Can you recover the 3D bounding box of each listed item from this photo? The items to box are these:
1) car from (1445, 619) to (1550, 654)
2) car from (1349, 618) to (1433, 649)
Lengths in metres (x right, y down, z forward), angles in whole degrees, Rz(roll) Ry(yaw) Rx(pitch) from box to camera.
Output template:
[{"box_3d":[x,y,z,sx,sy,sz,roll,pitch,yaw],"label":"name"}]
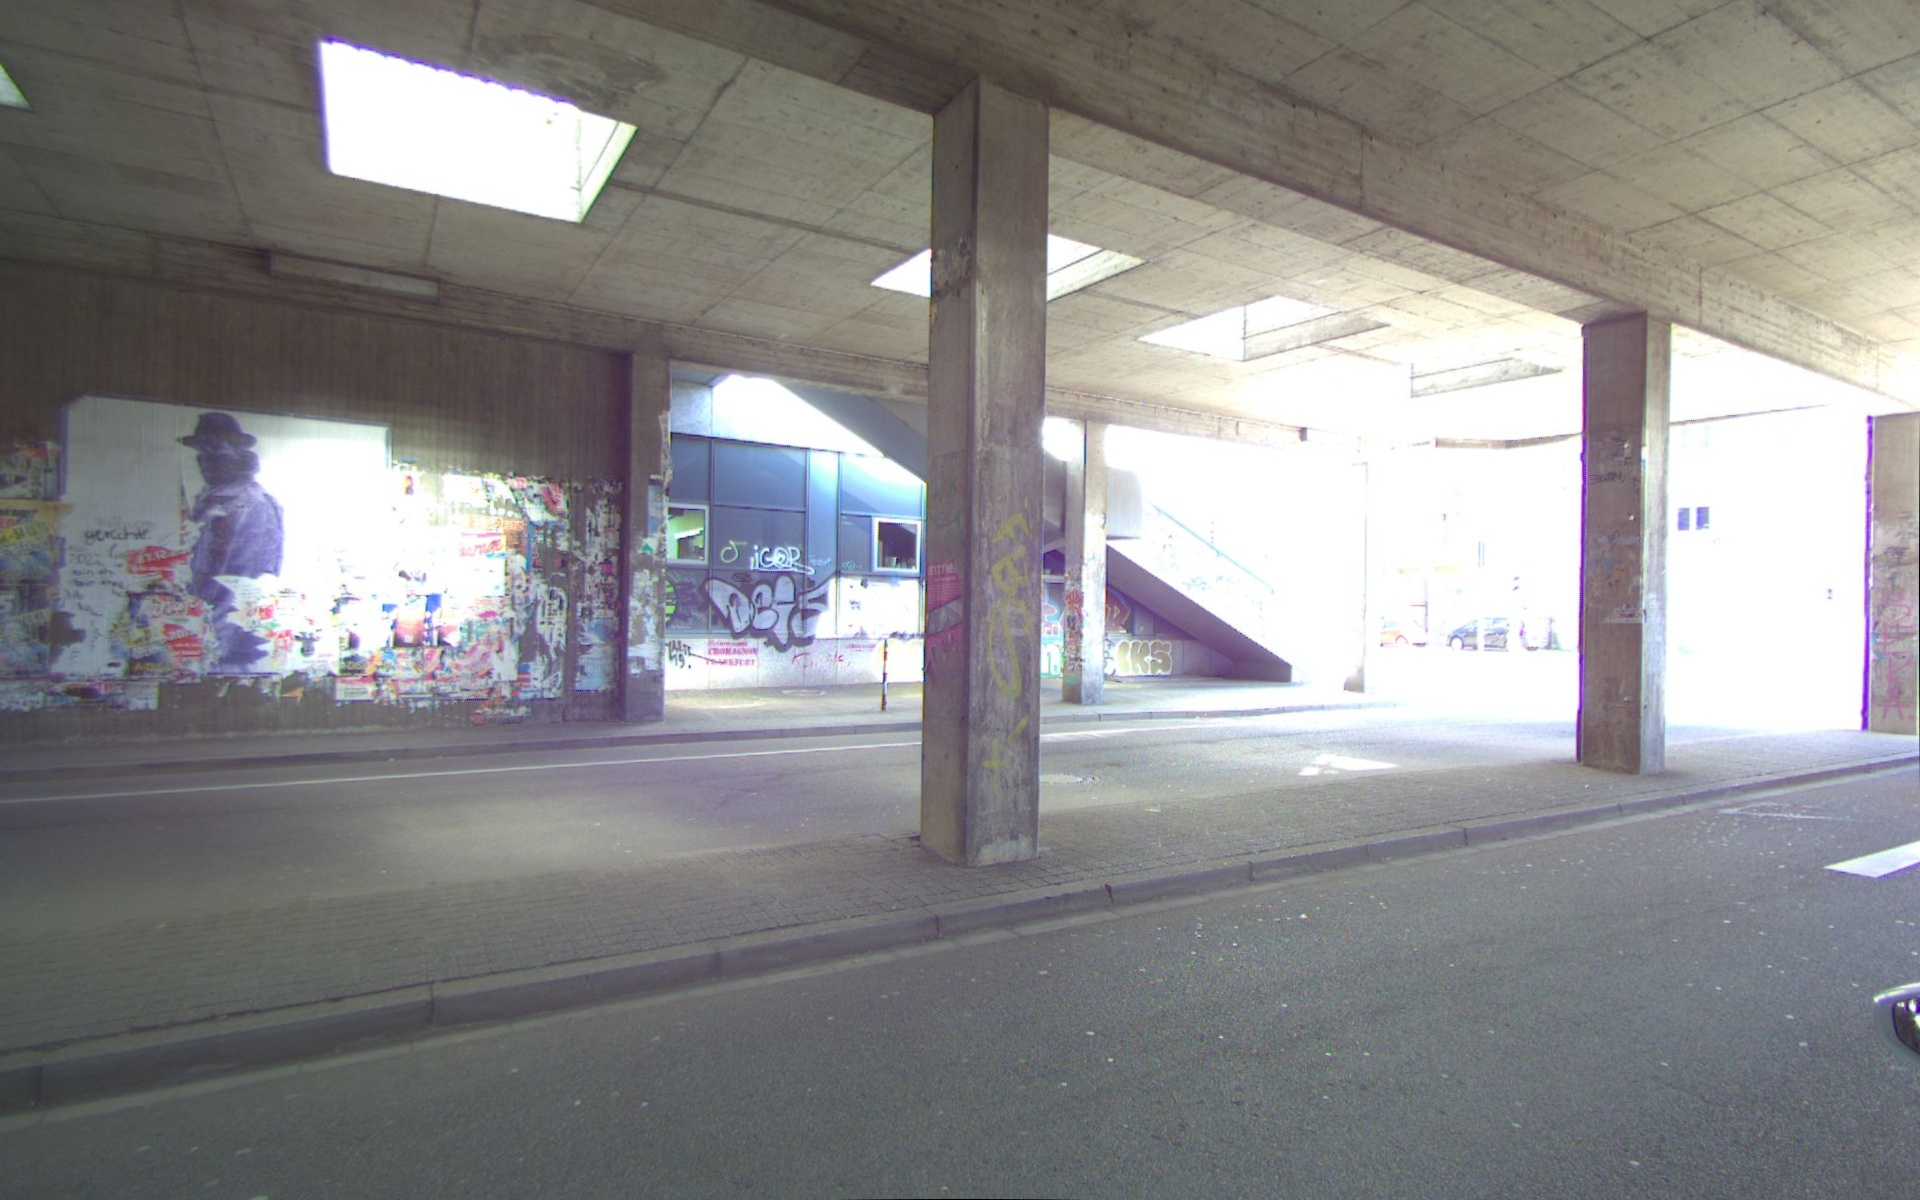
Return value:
[{"box_3d":[25.430,1.707,47.636,1.718,1.495,4.089,2,-1,-31],"label":"car"},{"box_3d":[22.518,1.725,52.592,1.730,1.495,3.741,2,-1,-31],"label":"car"}]
